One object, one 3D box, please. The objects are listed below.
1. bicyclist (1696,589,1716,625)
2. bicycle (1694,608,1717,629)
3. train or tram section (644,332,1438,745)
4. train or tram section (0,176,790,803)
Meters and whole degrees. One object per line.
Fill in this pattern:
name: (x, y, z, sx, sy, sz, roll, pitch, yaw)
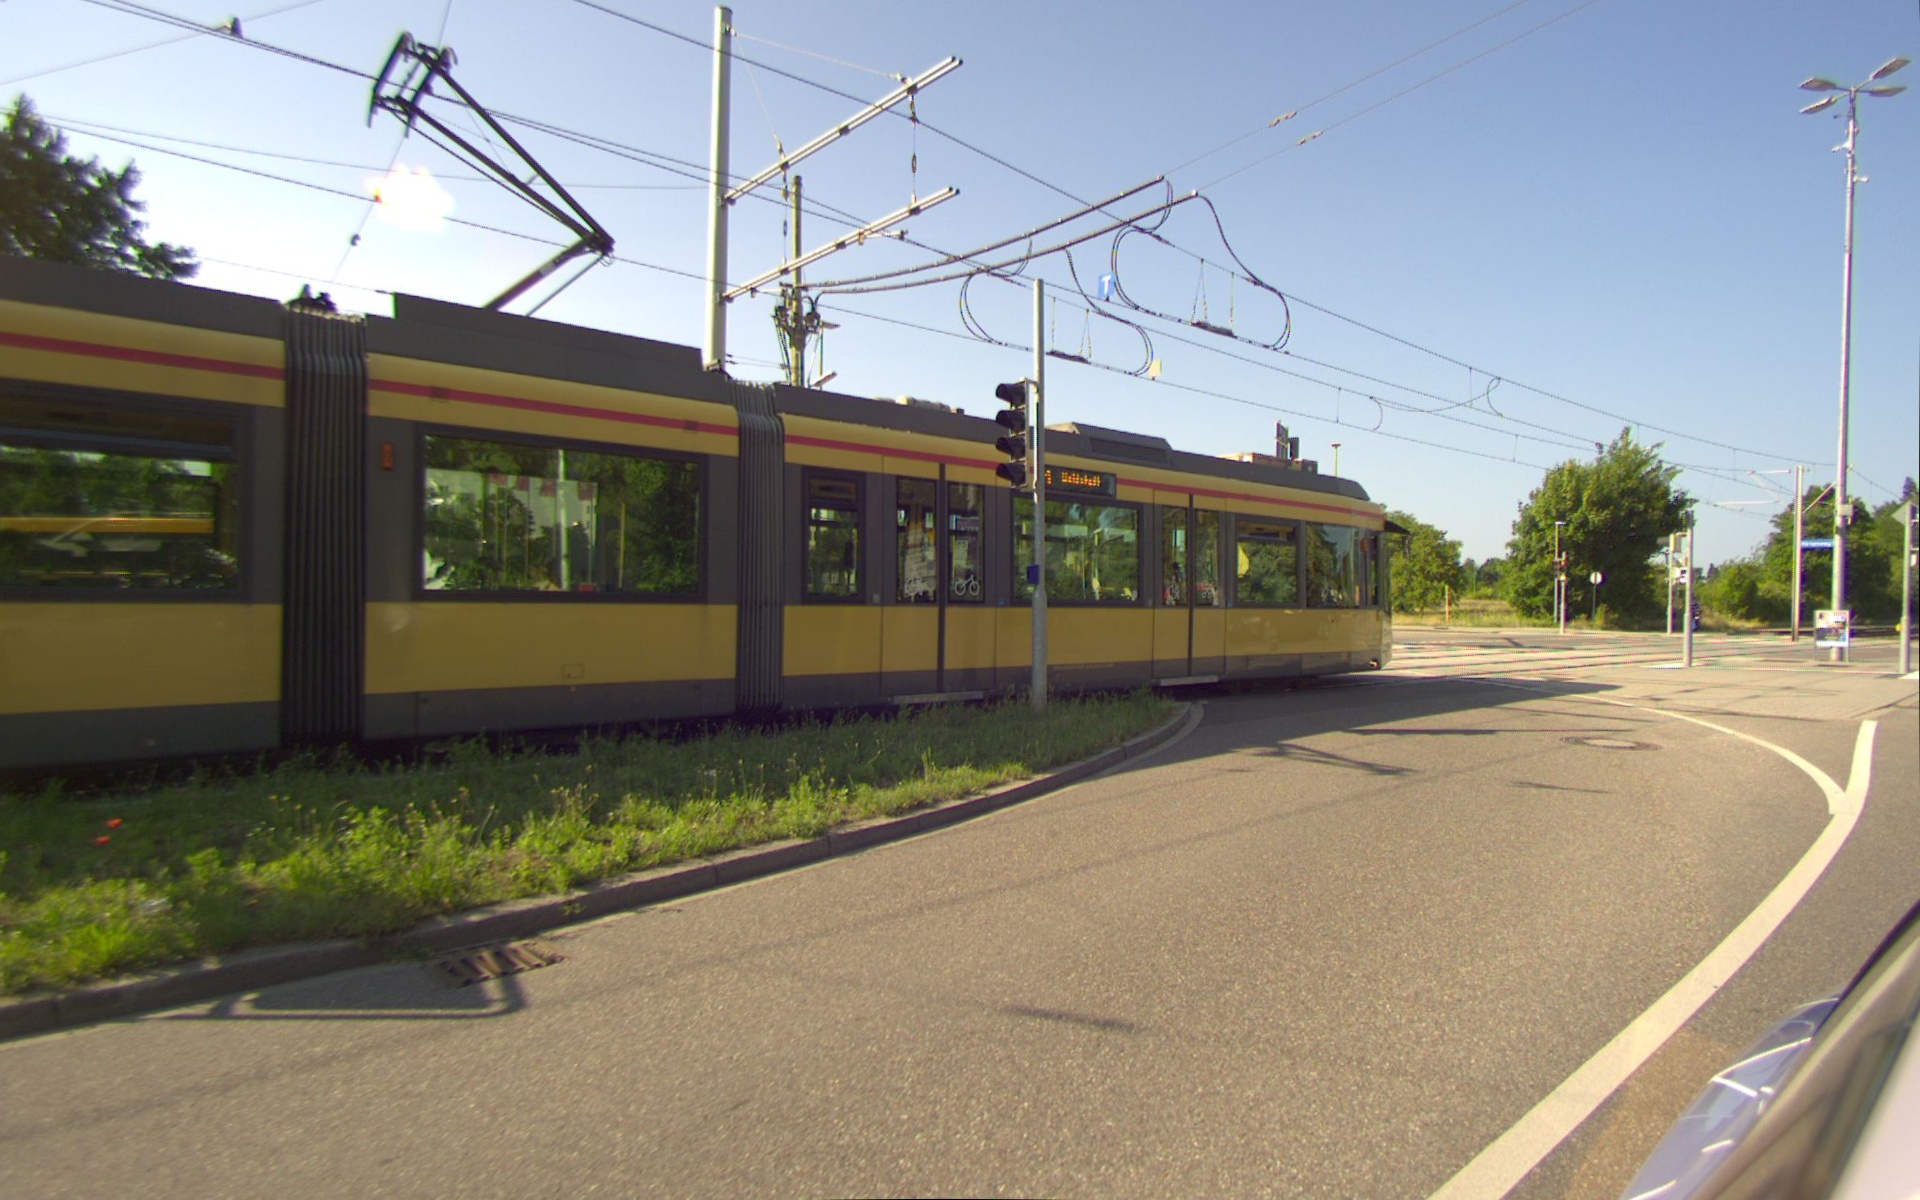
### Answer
bicyclist: (39.279, 0.361, 53.281, 0.705, 1.830, 0.708, 1, 0, -39)
bicycle: (39.247, 0.963, 53.269, 1.840, 1.060, 0.546, 0, 1, -40)
train or tram section: (2.294, -0.603, 14.125, 12.724, 3.664, 2.802, -1, 1, -40)
train or tram section: (-6.645, -0.646, 6.655, 11.055, 3.598, 2.756, 0, 1, -40)
